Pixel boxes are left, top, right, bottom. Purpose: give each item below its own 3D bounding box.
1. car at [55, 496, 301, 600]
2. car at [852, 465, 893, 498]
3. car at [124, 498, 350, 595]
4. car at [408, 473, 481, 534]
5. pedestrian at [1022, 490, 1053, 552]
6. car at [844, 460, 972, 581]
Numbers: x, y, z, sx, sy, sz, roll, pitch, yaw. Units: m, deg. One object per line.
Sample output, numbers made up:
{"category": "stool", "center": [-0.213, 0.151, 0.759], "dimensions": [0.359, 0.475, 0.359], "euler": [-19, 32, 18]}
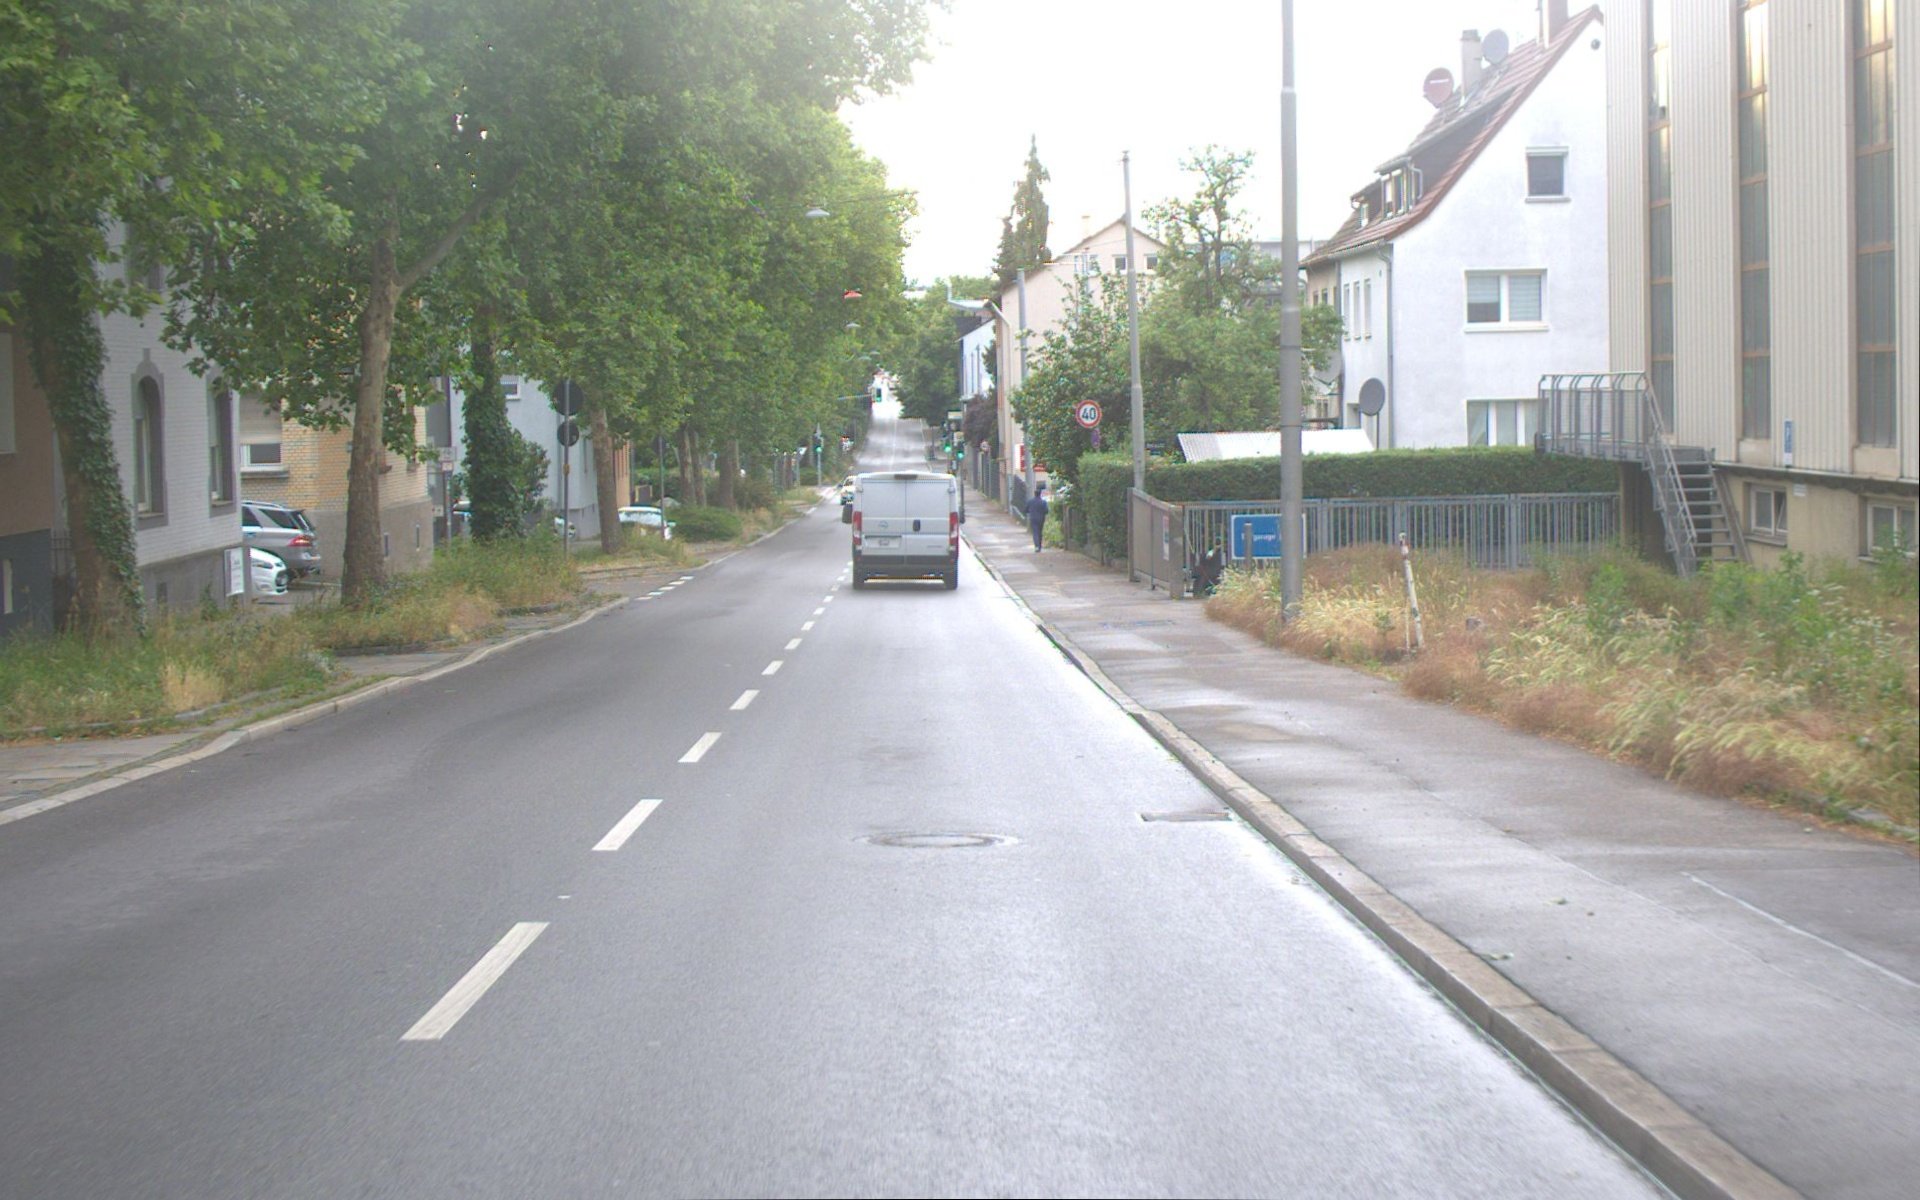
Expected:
{"category": "car", "center": [-14.745, -0.999, 64.999], "dimensions": [4.196, 1.885, 2.000], "euler": [-1, 2, -1]}
{"category": "car", "center": [-4.658, -6.258, 182.406], "dimensions": [1.993, 1.703, 4.260], "euler": [0, 1, -3]}
{"category": "car", "center": [-14.786, -1.112, 70.472], "dimensions": [4.196, 1.885, 2.000], "euler": [-1, 2, -1]}
{"category": "car", "center": [-17.131, -3.231, 114.426], "dimensions": [1.875, 1.888, 4.001], "euler": [-1, 3, -1]}
{"category": "pedestrian", "center": [2.119, -2.165, 94.068], "dimensions": [0.816, 1.692, 0.729], "euler": [0, 1, 4]}
{"category": "car", "center": [-1.057, -1.592, 67.256], "dimensions": [2.346, 2.152, 4.778], "euler": [-1, 3, -2]}
